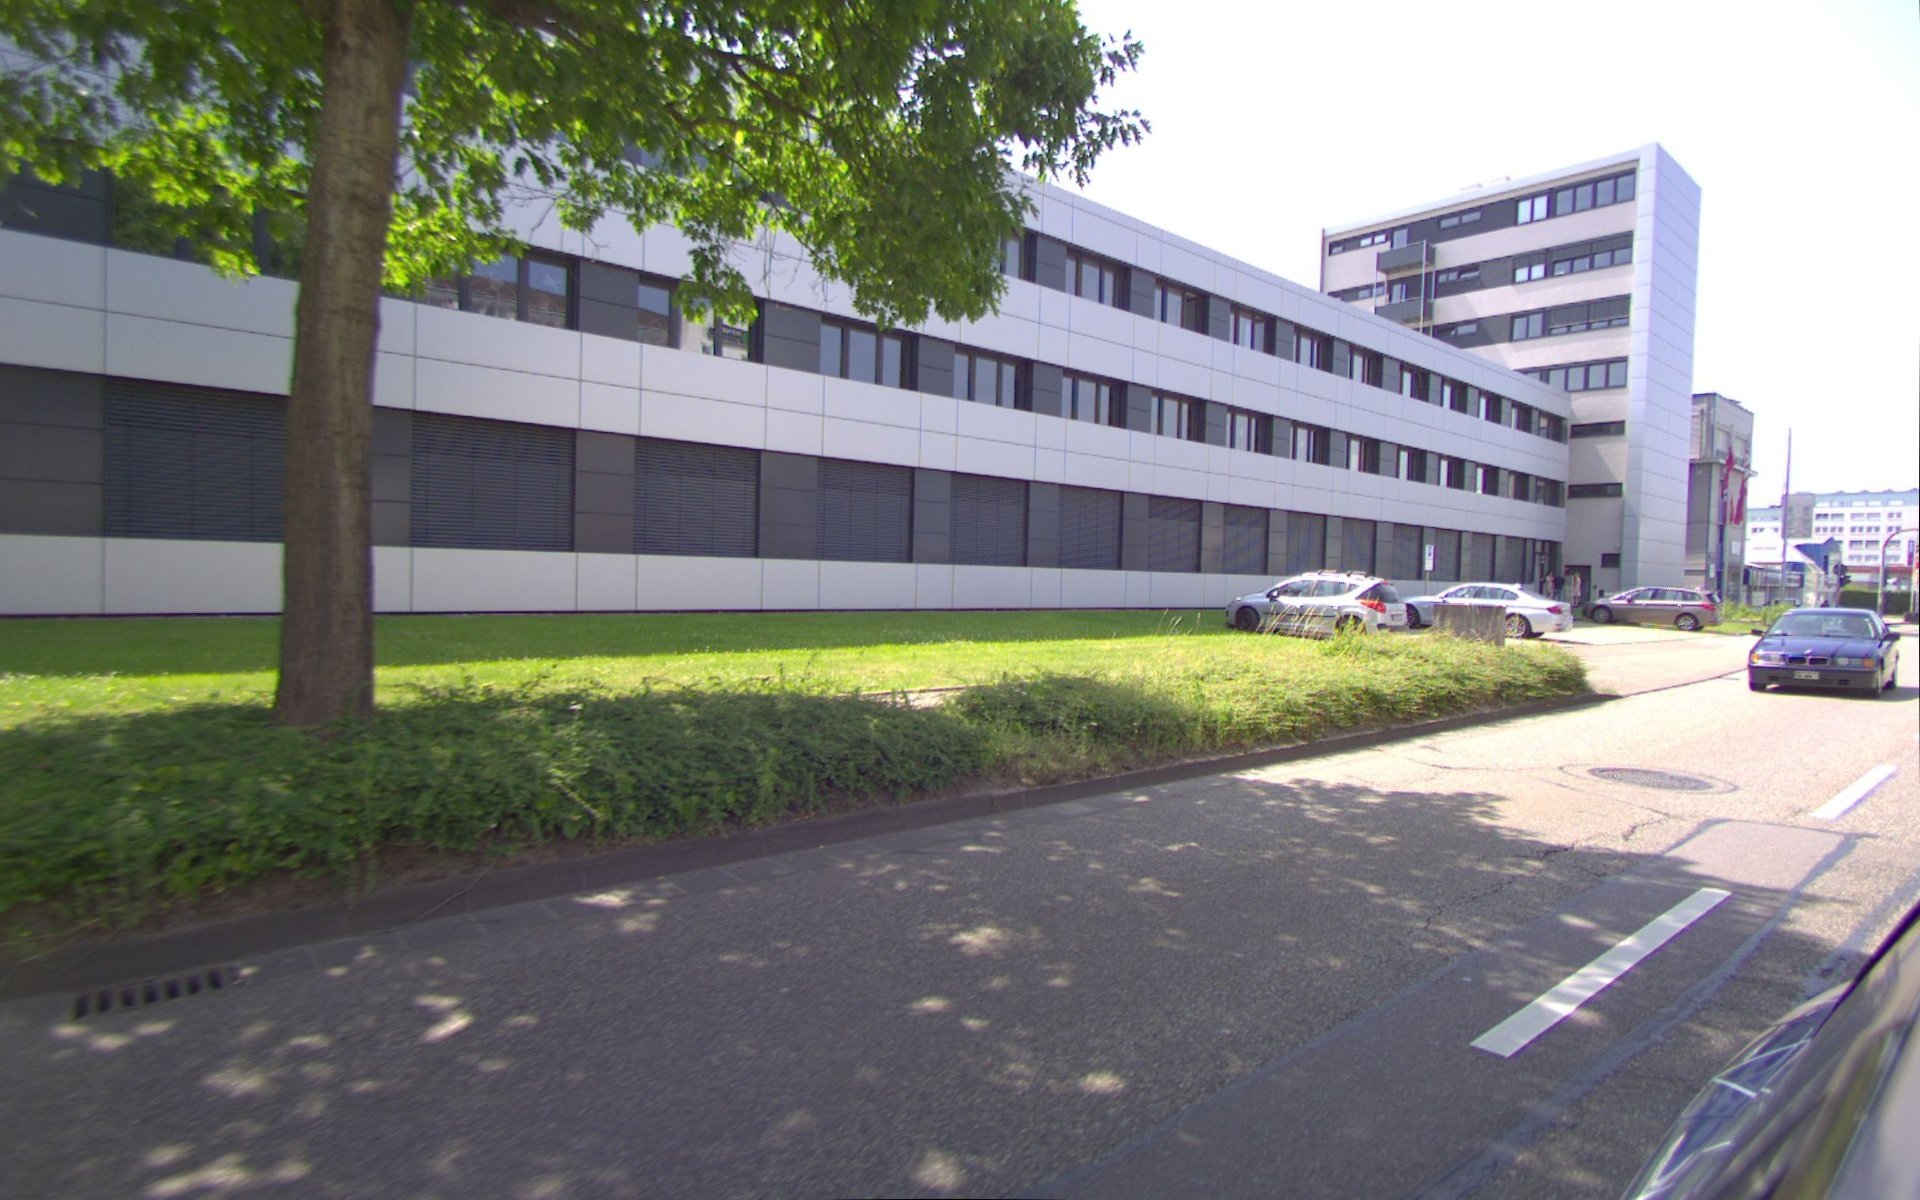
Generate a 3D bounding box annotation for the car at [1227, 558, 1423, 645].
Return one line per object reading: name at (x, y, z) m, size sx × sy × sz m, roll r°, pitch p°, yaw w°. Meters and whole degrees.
car at (8.335, -0.019, 23.328) m, size 1.704 × 1.611 × 3.818 m, roll 0°, pitch 5°, yaw -44°

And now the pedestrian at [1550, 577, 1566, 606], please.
pedestrian at (29.855, -0.445, 50.523) m, size 0.521 × 1.422 × 0.788 m, roll 3°, pitch 2°, yaw 39°

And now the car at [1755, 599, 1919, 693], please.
car at (14.636, 0.692, 16.777) m, size 3.691 × 1.356 × 1.631 m, roll 1°, pitch 1°, yaw -41°

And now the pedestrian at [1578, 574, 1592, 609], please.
pedestrian at (30.739, -0.423, 49.767) m, size 0.519 × 1.683 × 0.748 m, roll 3°, pitch 2°, yaw 32°

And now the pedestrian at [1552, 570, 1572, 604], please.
pedestrian at (29.413, -0.645, 49.435) m, size 0.513 × 1.654 × 0.595 m, roll 1°, pitch 2°, yaw -32°

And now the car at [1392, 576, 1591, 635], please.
car at (15.074, 0.094, 28.876) m, size 1.968 × 1.407 × 4.617 m, roll 0°, pitch 3°, yaw -45°

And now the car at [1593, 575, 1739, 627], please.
car at (27.030, -0.016, 38.859) m, size 1.967 × 1.709 × 4.263 m, roll -1°, pitch 4°, yaw -44°
